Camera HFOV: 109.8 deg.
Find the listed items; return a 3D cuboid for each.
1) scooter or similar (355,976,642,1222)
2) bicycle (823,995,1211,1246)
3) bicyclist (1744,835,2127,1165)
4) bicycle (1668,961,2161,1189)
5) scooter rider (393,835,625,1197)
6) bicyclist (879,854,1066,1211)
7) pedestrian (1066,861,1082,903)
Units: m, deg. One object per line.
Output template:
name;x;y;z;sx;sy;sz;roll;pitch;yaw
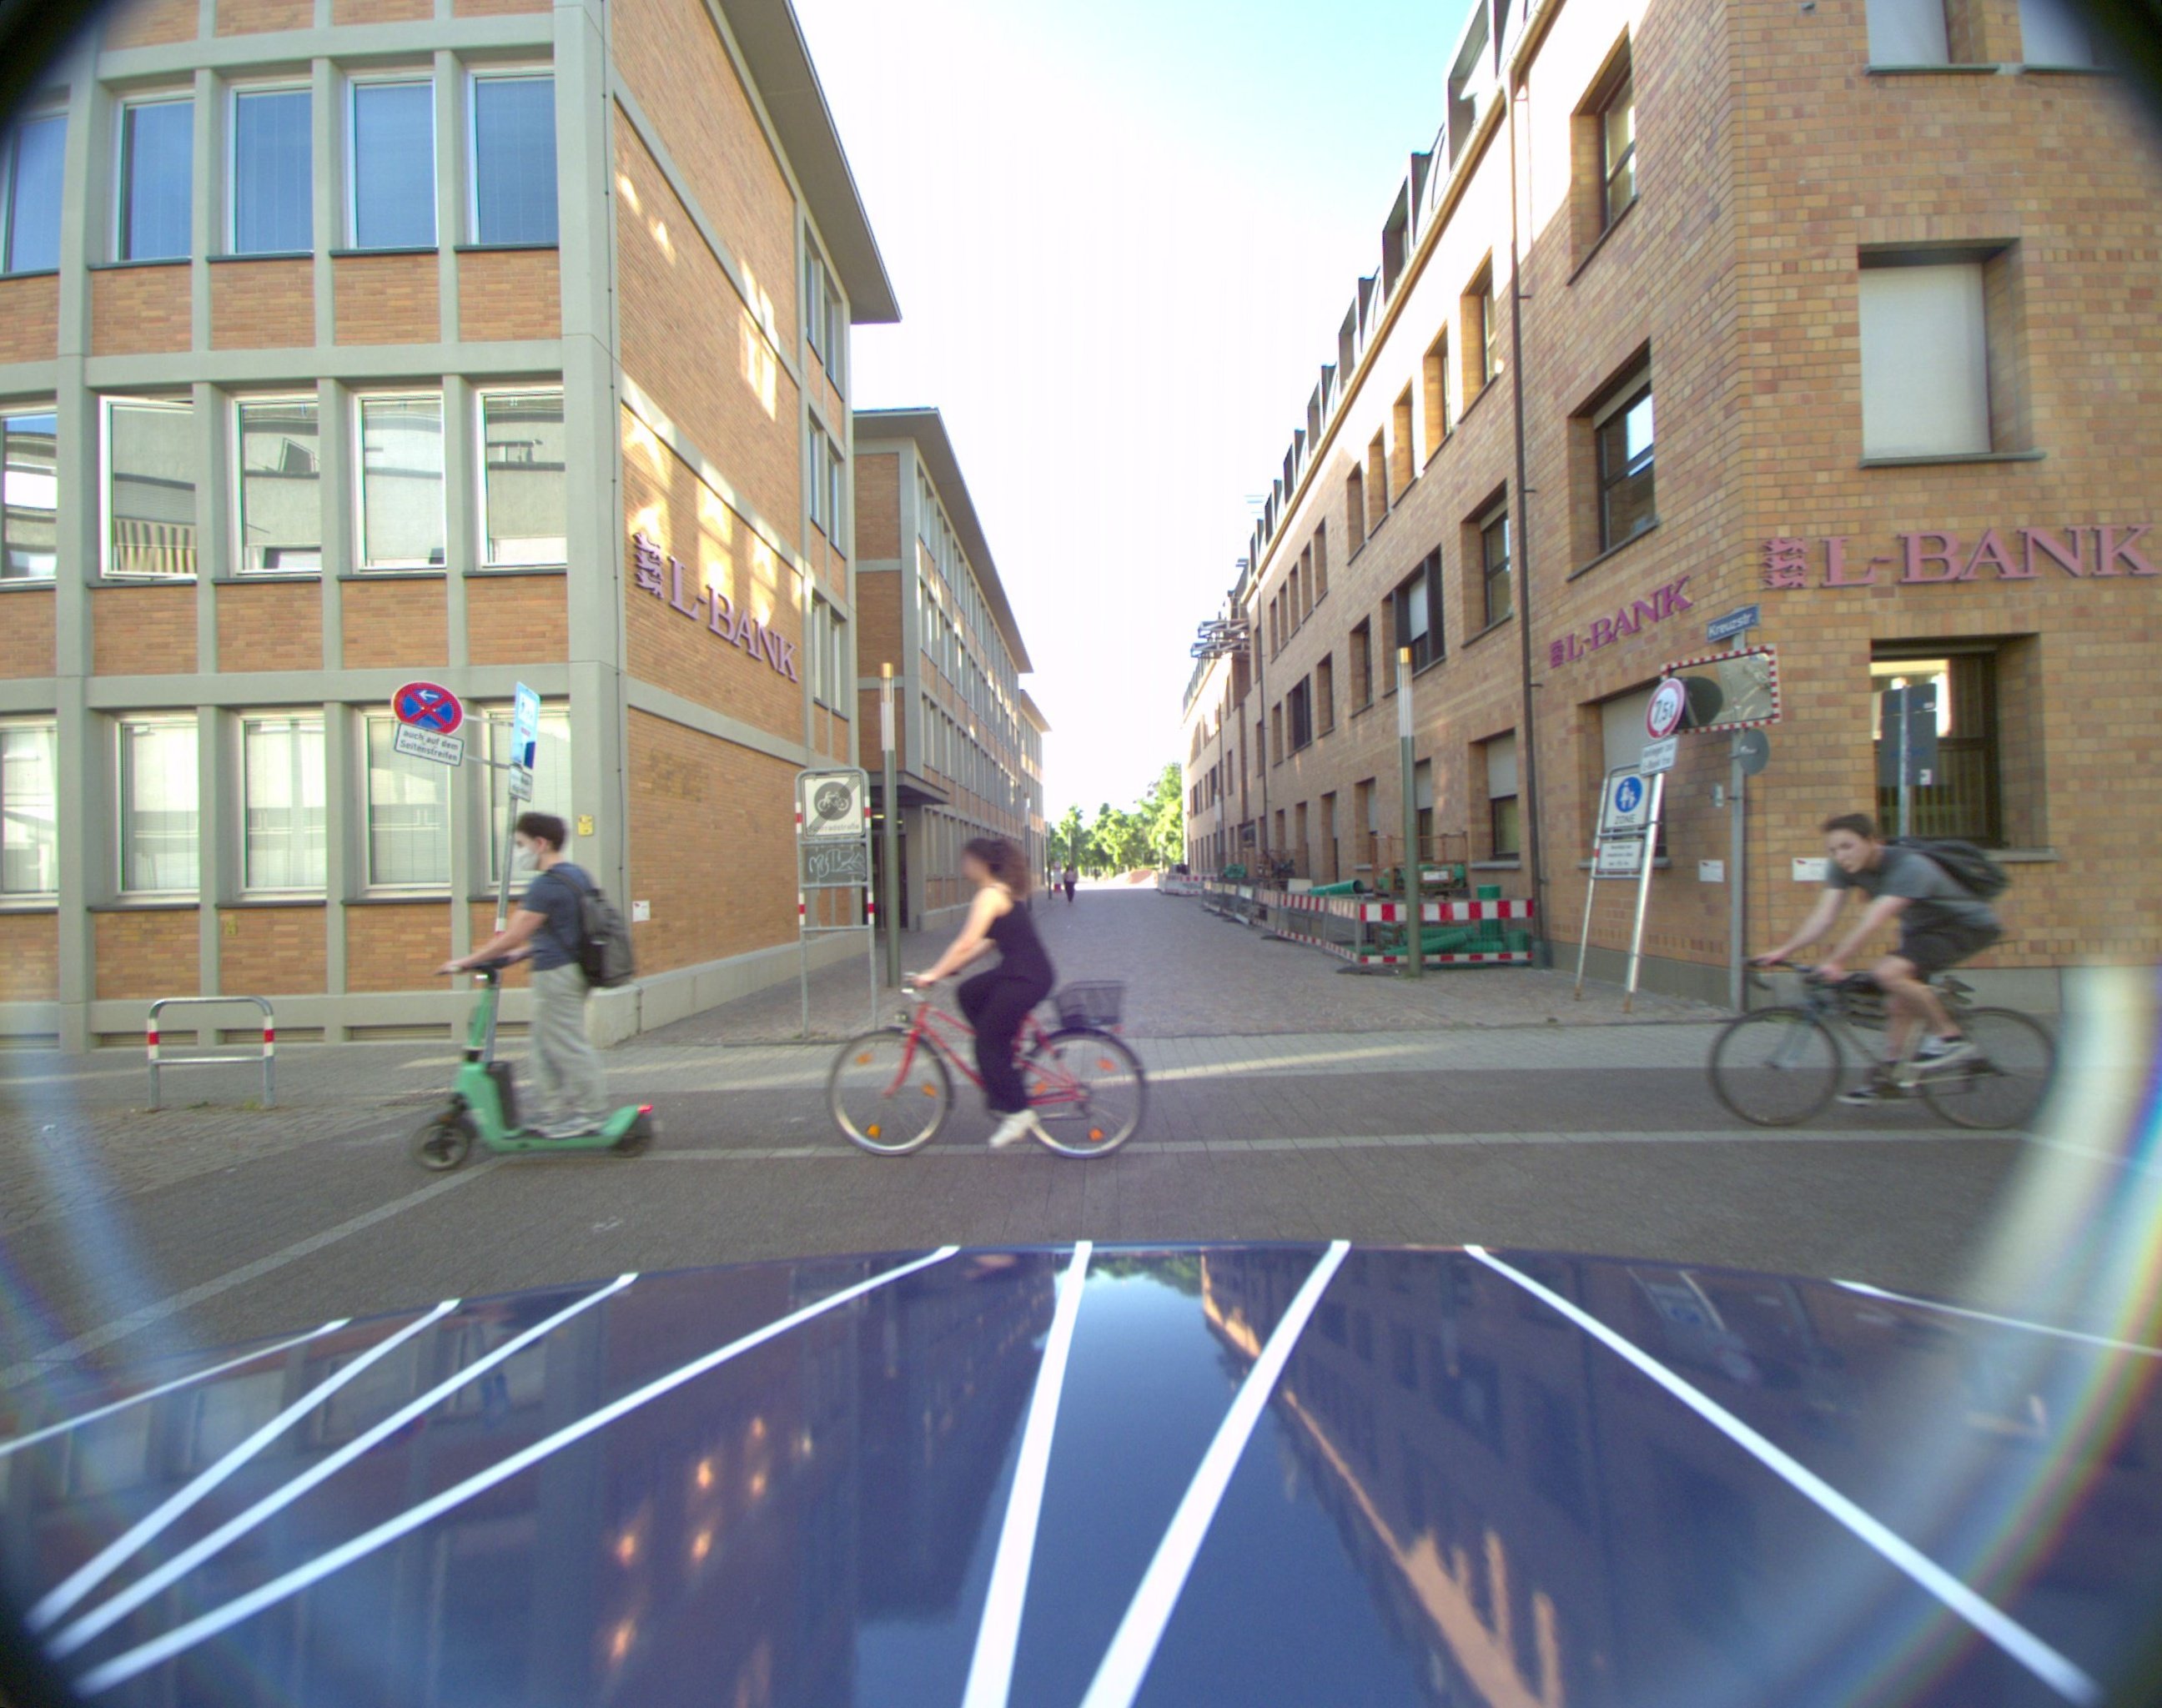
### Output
scooter or similar;-3.048;1.261;4.014;1.278;1.178;0.337;-1;-2;4
bicycle;-0.301;1.305;3.858;1.799;1.045;0.591;-2;-2;1
bicyclist;4.358;0.720;3.966;1.108;1.548;0.650;-2;-3;4
bicycle;4.293;1.126;4.010;1.834;1.044;0.574;-2;-4;4
scooter rider;-2.922;0.773;3.943;0.701;1.716;0.649;0;0;4
bicyclist;-0.524;0.854;3.904;0.823;1.656;0.620;-2;-3;2
pedestrian;-0.292;1.222;32.802;0.638;1.774;0.652;-1;-3;2
